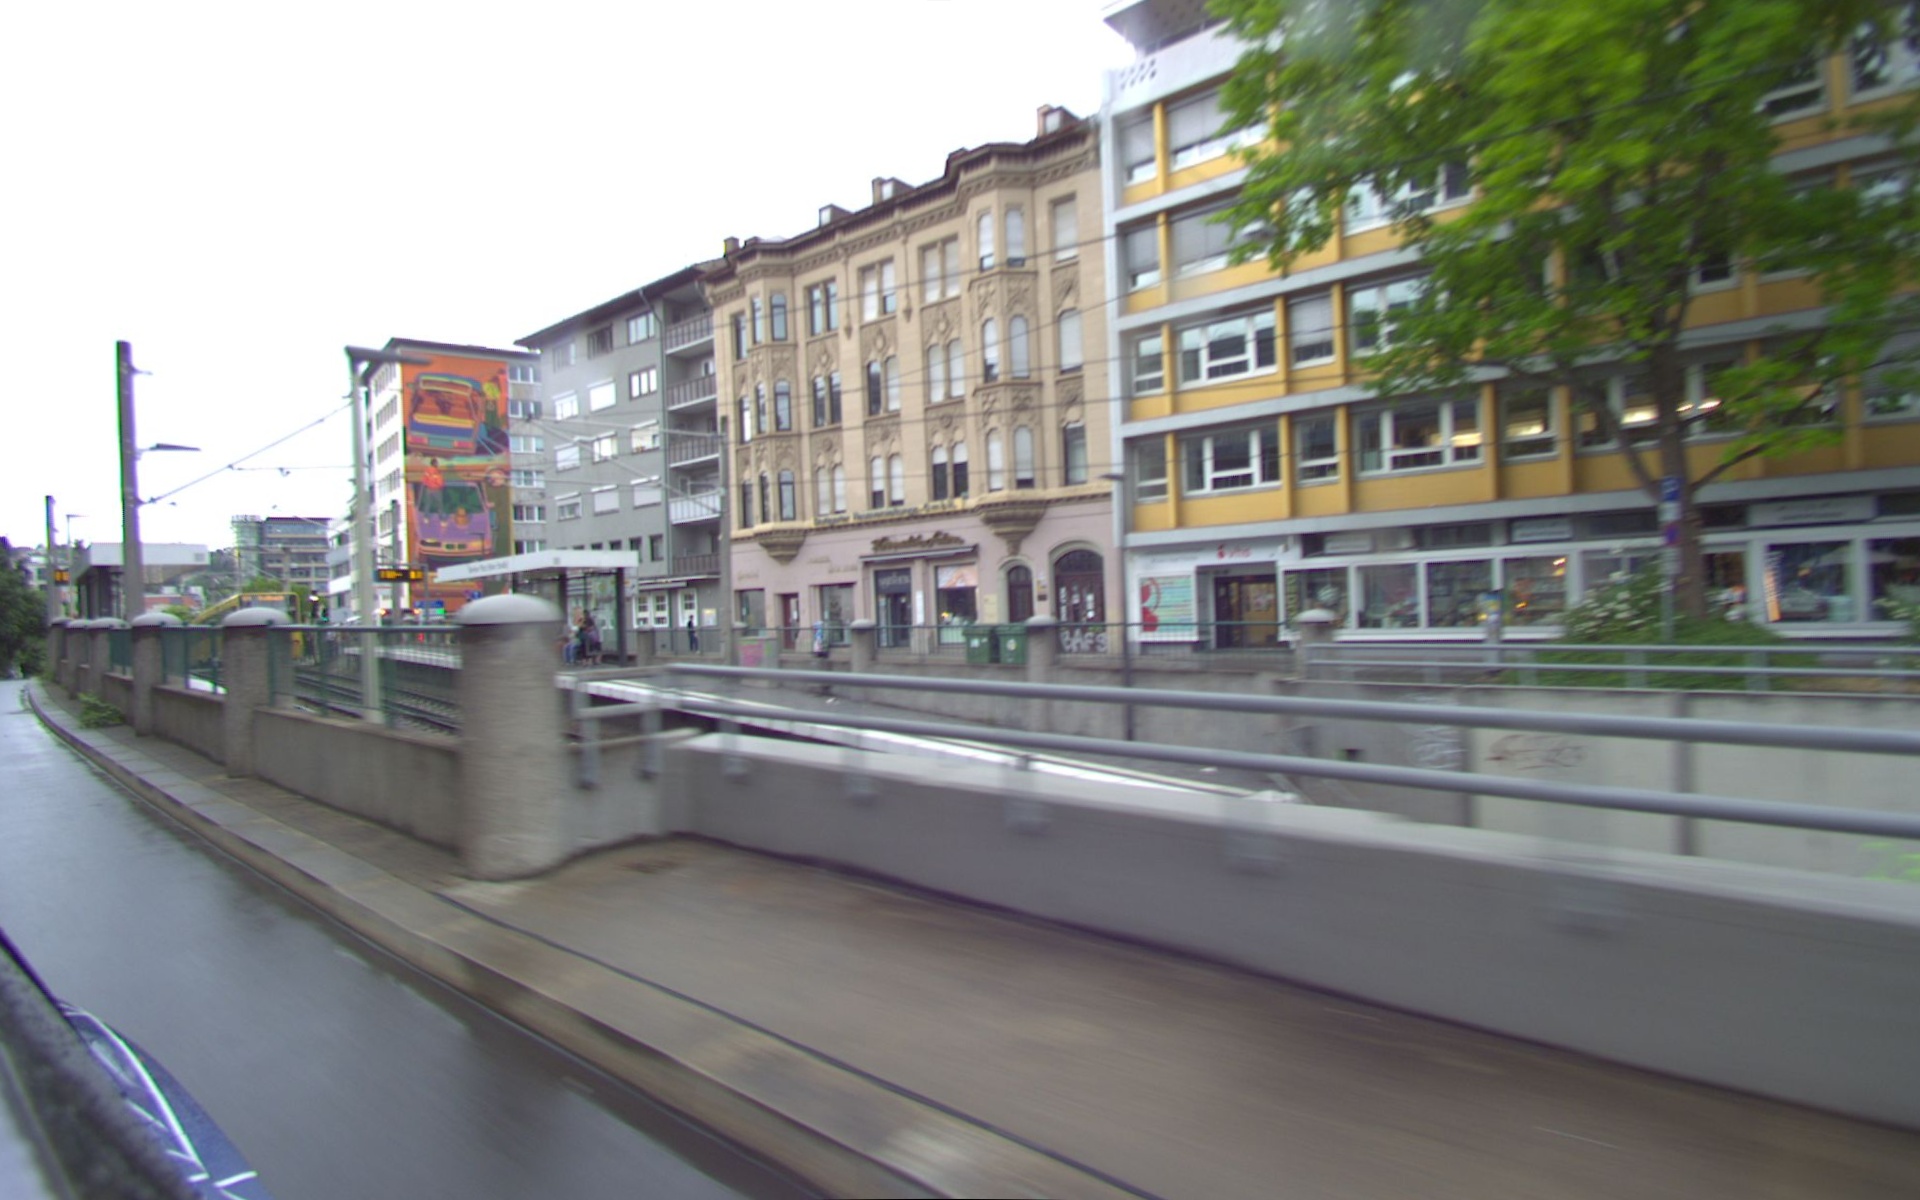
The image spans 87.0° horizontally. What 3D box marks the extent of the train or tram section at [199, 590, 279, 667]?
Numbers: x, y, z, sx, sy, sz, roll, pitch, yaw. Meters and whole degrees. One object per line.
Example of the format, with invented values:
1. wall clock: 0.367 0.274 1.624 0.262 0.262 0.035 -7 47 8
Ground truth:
1. train or tram section: -40.672 1.692 56.902 2.744 3.720 9.524 -3 -2 -40

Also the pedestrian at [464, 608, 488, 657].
1. pedestrian: -15.872 1.065 33.199 0.551 1.549 0.517 -1 -2 -43

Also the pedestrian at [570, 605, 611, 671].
1. pedestrian: -9.701 1.009 26.535 0.668 1.661 0.897 5 -6 -39

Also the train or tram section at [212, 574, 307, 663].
1. train or tram section: -34.449 1.044 49.553 2.744 3.720 9.728 -3 -2 -40

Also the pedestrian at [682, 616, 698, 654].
1. pedestrian: -12.221 1.583 45.793 0.415 1.695 0.609 -3 -1 -32

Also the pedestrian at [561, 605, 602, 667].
1. pedestrian: -10.494 1.008 28.078 0.762 1.661 0.779 6 -6 -39

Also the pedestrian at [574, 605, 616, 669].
1. pedestrian: -9.893 1.011 27.459 0.762 1.661 0.779 6 -6 -39

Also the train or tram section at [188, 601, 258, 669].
1. train or tram section: -46.831 2.318 64.152 2.744 3.720 9.524 -3 -2 -40

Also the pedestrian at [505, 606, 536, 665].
1. pedestrian: -12.888 1.042 29.675 0.625 1.673 0.684 -2 -2 -40

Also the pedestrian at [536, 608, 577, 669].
1. pedestrian: -11.450 1.100 28.724 0.762 1.661 0.779 6 -6 -39
